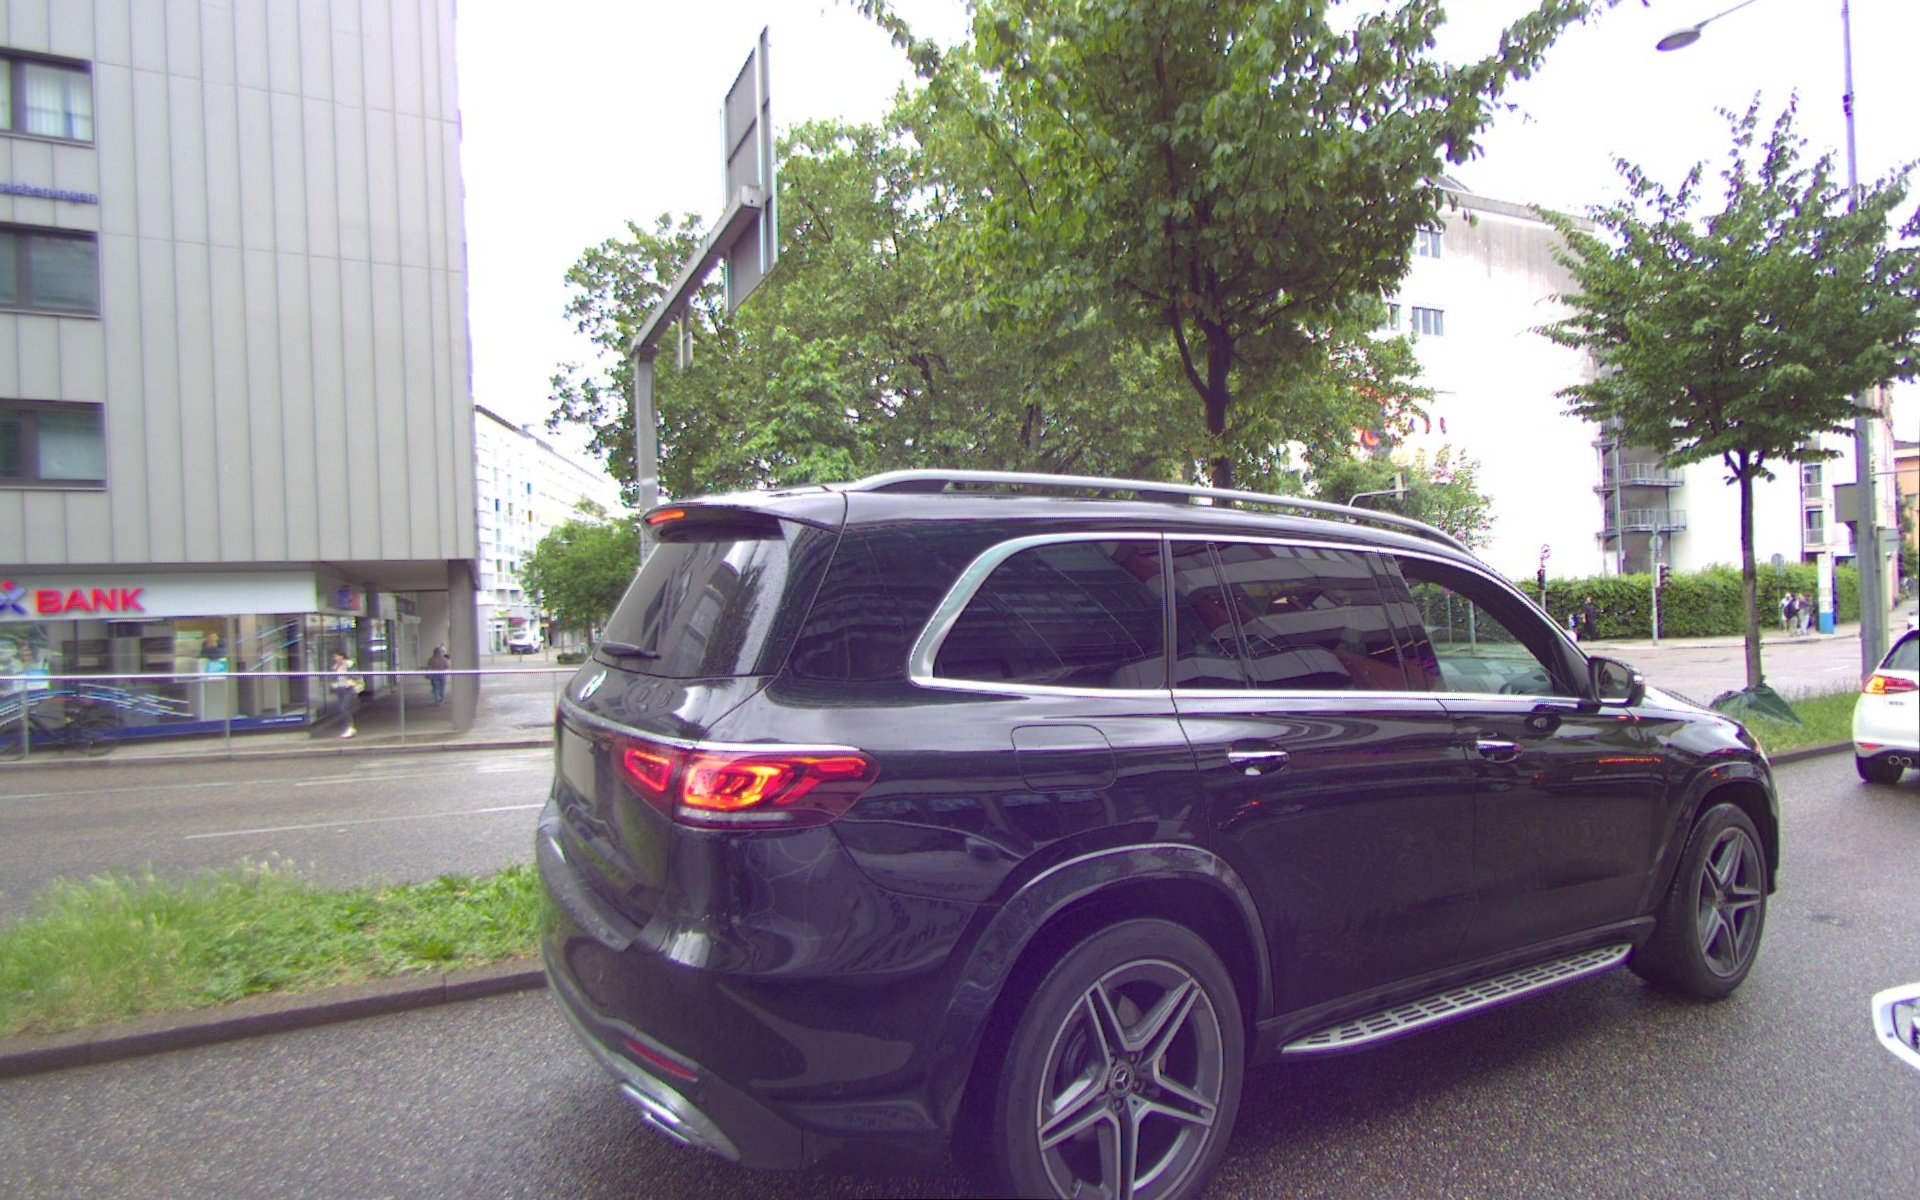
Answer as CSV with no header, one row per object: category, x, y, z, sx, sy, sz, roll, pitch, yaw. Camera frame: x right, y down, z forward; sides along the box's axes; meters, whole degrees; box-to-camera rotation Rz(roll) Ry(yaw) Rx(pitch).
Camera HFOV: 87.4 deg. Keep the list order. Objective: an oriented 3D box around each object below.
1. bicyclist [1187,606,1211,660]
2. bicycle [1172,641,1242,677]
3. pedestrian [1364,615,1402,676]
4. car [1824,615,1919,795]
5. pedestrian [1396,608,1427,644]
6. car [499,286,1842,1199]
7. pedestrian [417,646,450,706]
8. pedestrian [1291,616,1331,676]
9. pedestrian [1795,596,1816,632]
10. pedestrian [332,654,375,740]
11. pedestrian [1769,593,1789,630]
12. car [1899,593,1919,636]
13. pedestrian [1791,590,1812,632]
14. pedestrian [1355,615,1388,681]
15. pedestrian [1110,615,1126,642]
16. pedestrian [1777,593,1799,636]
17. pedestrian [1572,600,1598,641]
bicyclist,6.912,0.953,29.063,0.597,1.550,0.634,0,-2,7
bicycle,7.120,1.691,29.018,1.901,1.013,0.617,0,-2,6
pedestrian,12.075,1.280,28.672,0.620,1.684,0.749,-2,0,-30
car,9.549,0.871,8.962,3.800,1.448,1.768,0,0,-32
pedestrian,20.322,1.170,45.218,0.677,1.599,1.055,2,-1,-34
car,1.133,0.513,3.802,5.016,1.895,1.901,3,-1,-31
pedestrian,-15.415,2.201,29.410,0.719,1.719,0.782,2,-3,-37
pedestrian,10.870,1.409,31.096,0.698,1.807,0.922,2,-1,-19
pedestrian,37.992,0.626,45.141,0.522,1.620,0.576,2,-1,-36
pedestrian,-12.432,1.968,20.590,0.630,1.659,0.782,2,-1,-37
pedestrian,36.845,0.506,45.181,0.522,1.620,0.576,2,-1,-36
car,34.838,0.499,35.554,3.571,1.506,1.565,0,1,-33
pedestrian,36.047,0.480,43.012,0.559,1.771,0.535,2,-1,-35
pedestrian,10.790,1.255,26.345,0.572,1.684,0.554,-2,0,-30
pedestrian,9.907,1.789,63.012,0.723,1.664,0.635,2,0,-23
pedestrian,34.684,0.599,42.086,0.741,1.771,0.535,2,-1,-38
pedestrian,25.840,0.842,41.524,0.633,1.664,0.726,2,-1,-37
